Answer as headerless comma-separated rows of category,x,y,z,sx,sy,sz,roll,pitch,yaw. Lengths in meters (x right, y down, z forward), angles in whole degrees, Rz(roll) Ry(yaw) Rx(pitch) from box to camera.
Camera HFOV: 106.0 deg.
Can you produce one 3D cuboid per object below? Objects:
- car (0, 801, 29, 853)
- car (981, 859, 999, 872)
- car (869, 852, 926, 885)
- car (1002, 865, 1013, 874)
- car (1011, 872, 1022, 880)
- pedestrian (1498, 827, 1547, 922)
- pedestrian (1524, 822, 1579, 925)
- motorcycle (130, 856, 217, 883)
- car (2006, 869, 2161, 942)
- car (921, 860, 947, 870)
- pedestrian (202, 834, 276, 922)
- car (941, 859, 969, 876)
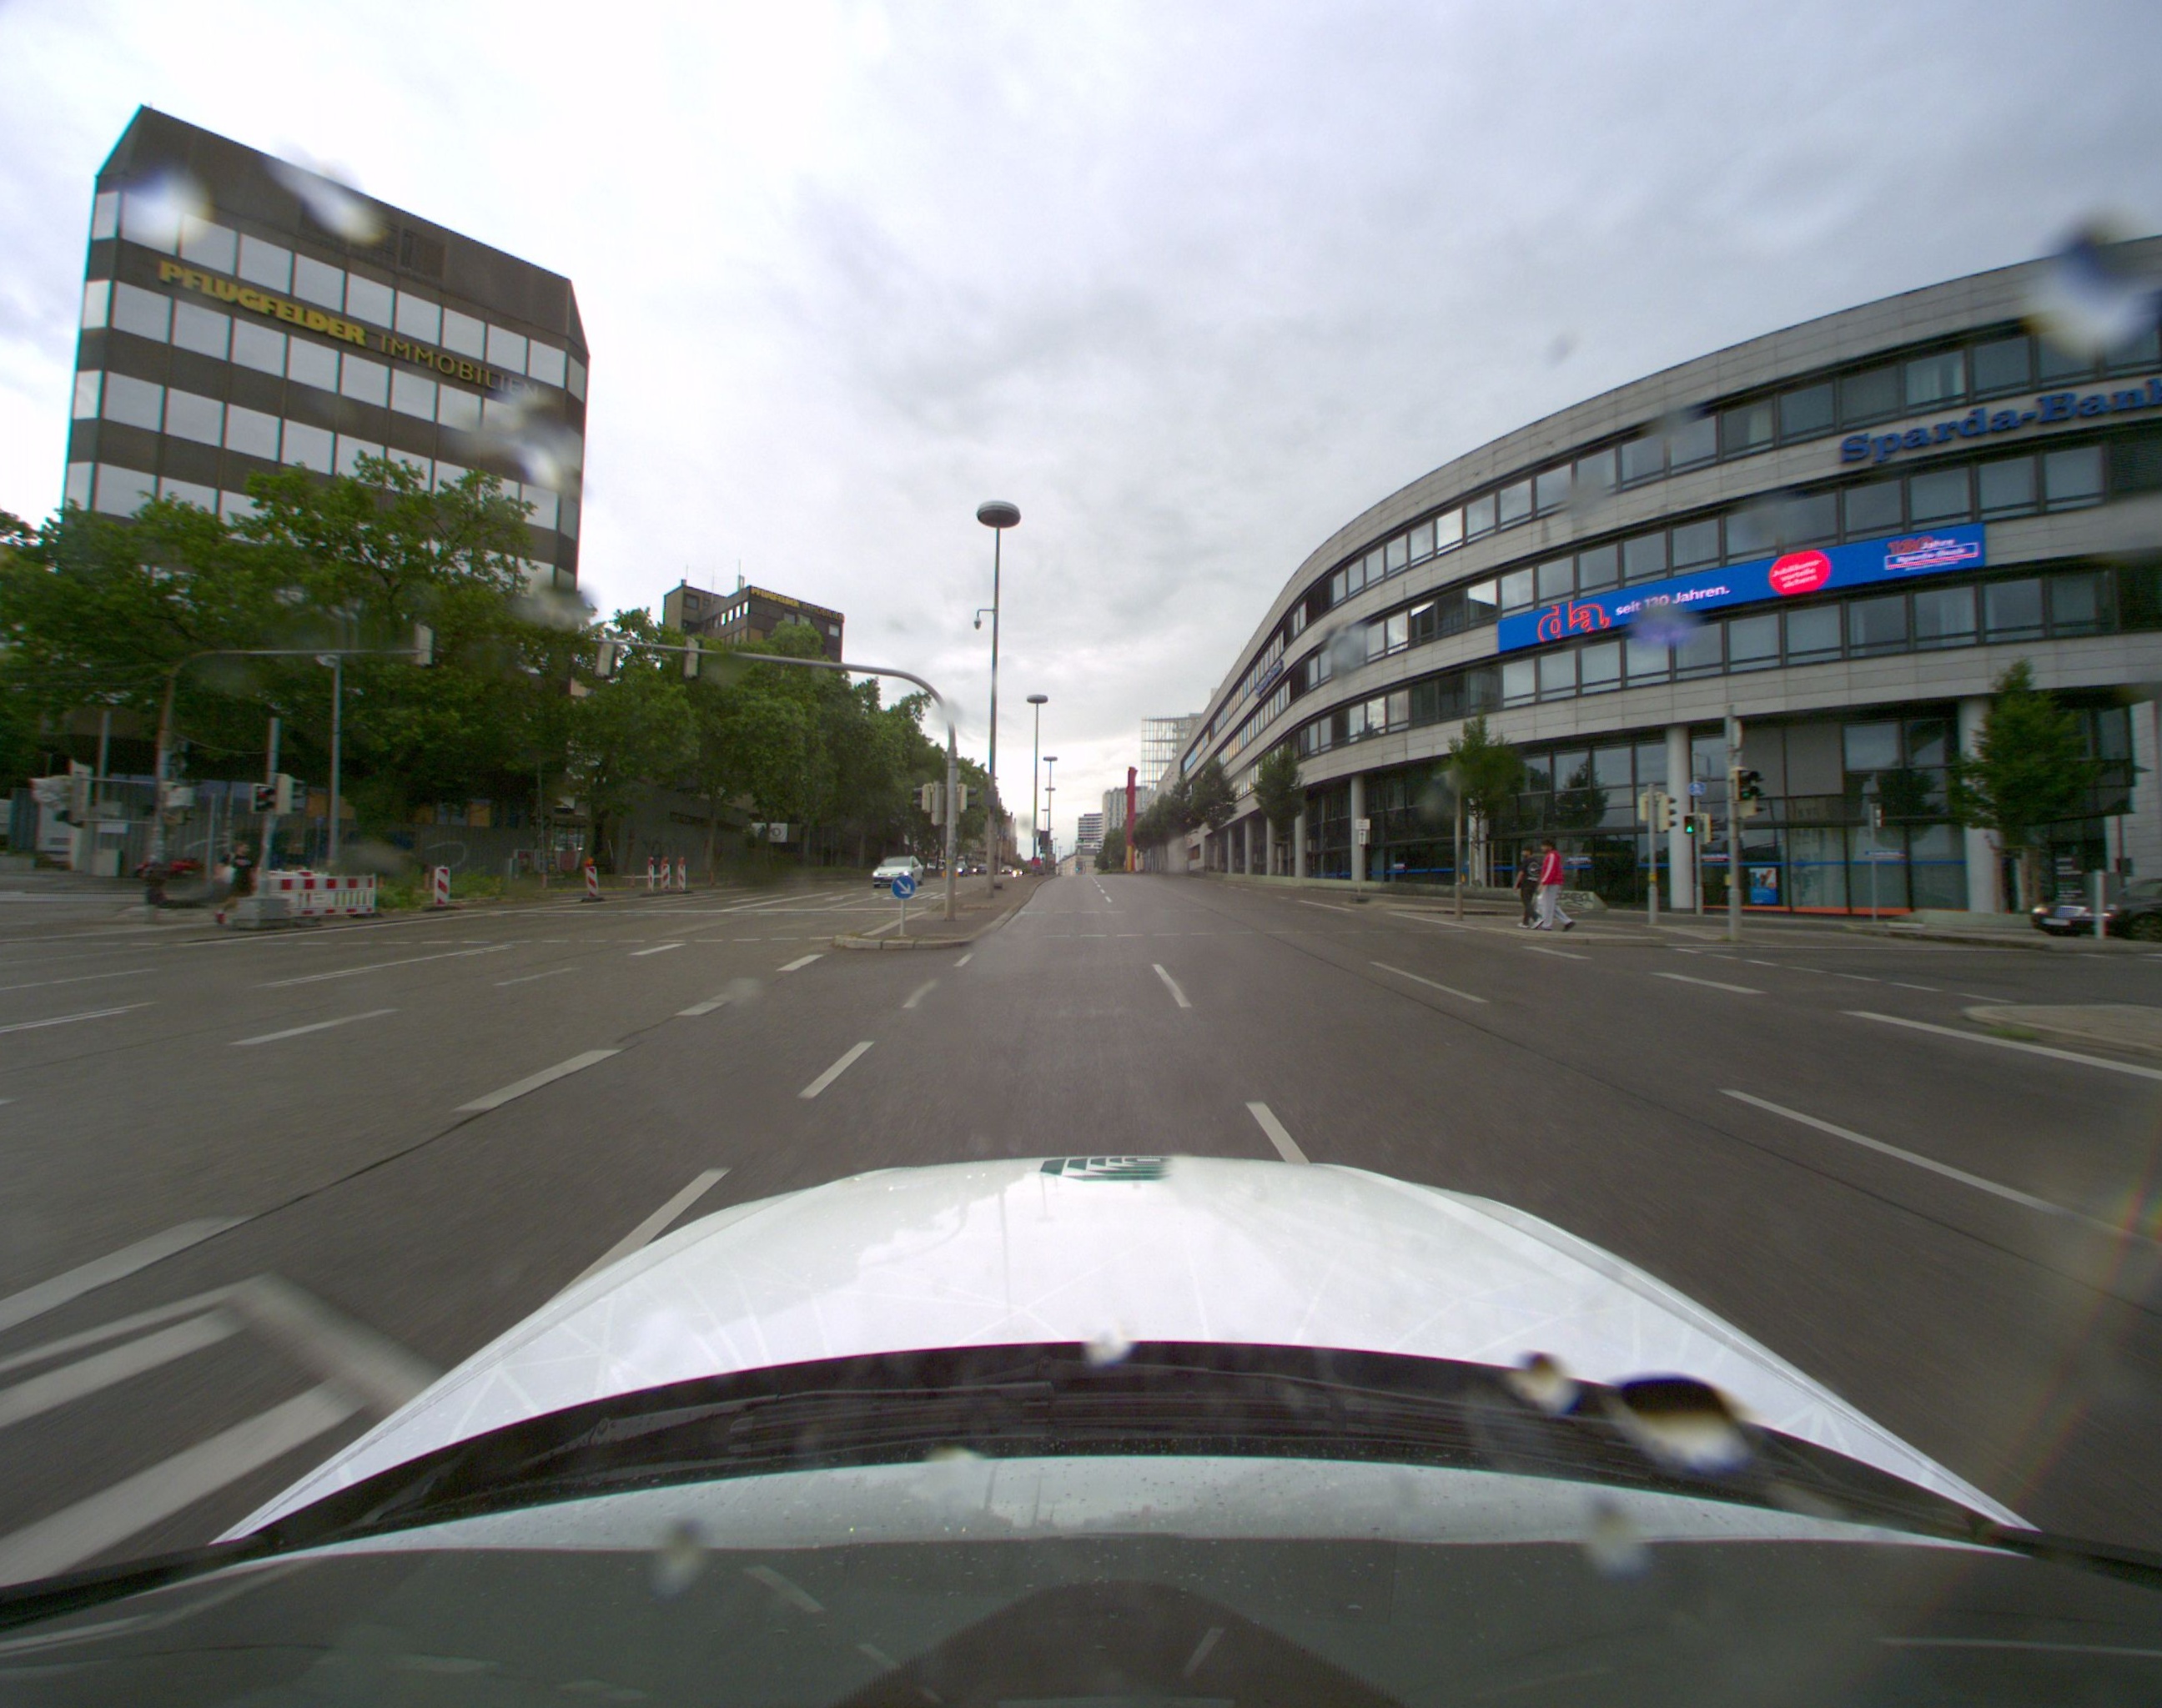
car,-54.946,-1.368,40.379,2.240,2.443,5.439,3,-4,-41
car,-10.824,1.347,97.207,1.603,1.473,4.068,0,-1,1
car,-8.802,0.680,39.418,1.755,1.461,4.359,-1,0,0
car,-12.110,2.537,134.587,1.683,1.410,3.994,-1,-1,-4
car,-13.573,4.612,170.567,1.812,1.403,4.001,-1,-3,2
pedestrian,9.088,0.420,16.784,0.833,1.905,0.736,-1,-2,26
pedestrian,9.000,0.377,15.607,0.833,1.905,0.866,-1,-3,26
motorcycle,-35.774,0.606,32.145,2.192,1.037,0.560,1,-1,-35
car,23.067,1.091,17.066,4.668,1.442,1.872,1,-3,11
car,-26.341,1.991,145.981,1.801,1.511,4.606,-3,-3,38
pedestrian,-18.452,0.526,17.871,0.740,1.880,0.744,1,-3,-9
car,-11.177,1.144,72.376,1.801,1.448,4.338,-1,0,-1
